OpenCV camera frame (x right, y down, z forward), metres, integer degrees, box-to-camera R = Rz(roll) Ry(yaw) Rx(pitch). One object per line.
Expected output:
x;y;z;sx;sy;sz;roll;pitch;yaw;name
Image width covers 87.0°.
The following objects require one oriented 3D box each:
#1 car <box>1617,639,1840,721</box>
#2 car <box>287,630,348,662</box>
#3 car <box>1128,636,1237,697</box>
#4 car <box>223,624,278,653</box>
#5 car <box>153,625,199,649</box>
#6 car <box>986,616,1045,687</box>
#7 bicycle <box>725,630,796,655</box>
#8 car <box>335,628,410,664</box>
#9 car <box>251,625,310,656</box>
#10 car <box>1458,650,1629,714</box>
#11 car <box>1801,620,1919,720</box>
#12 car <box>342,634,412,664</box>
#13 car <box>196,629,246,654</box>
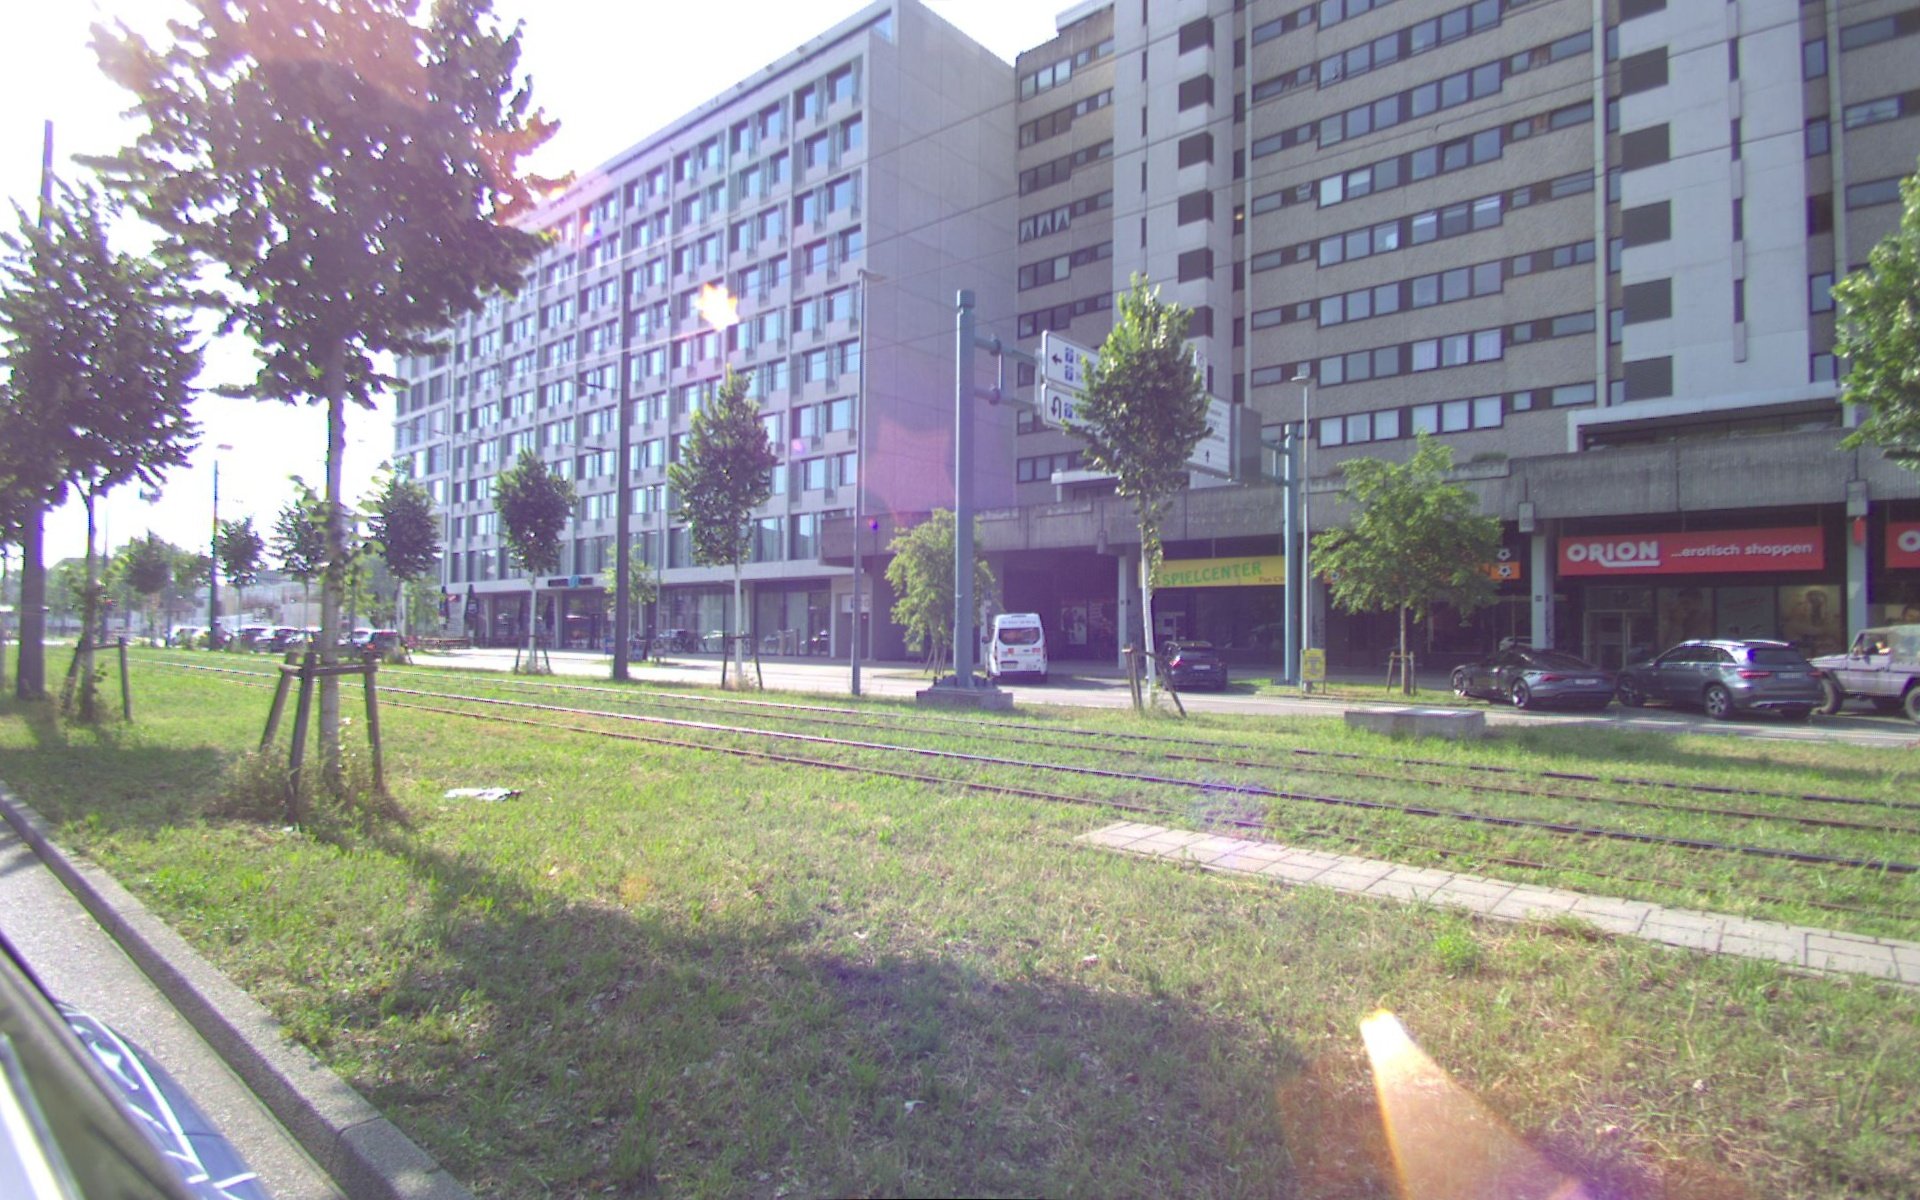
16.864;1.704;22.524;1.854;1.618;4.109;0;-2;2;car
-31.687;2.242;49.883;3.642;1.498;1.722;-2;-3;44;car
6.751;1.984;31.167;2.070;1.594;4.005;-2;-1;-5;car
-40.529;2.203;57.791;4.001;1.586;1.787;-2;-3;44;car
-53.554;2.509;69.075;3.999;1.536;1.763;-1;-3;42;car
1.900;1.802;36.083;1.859;2.326;5.406;0;-2;1;car
-11.420;2.418;58.090;3.936;1.377;1.128;2;-3;-40;bicycle
-26.067;2.013;44.851;4.001;1.492;1.787;-2;-3;44;car
-36.405;2.136;54.189;4.001;1.586;1.787;-2;-3;44;car
14.163;1.955;24.866;1.854;1.253;4.109;-1;0;2;car
19.984;1.418;20.862;1.854;1.983;4.109;0;-2;2;car
-31.212;2.577;54.110;4.418;1.502;1.972;-1;-3;42;car
-45.240;2.503;61.939;4.001;1.486;1.787;-2;-3;44;car
